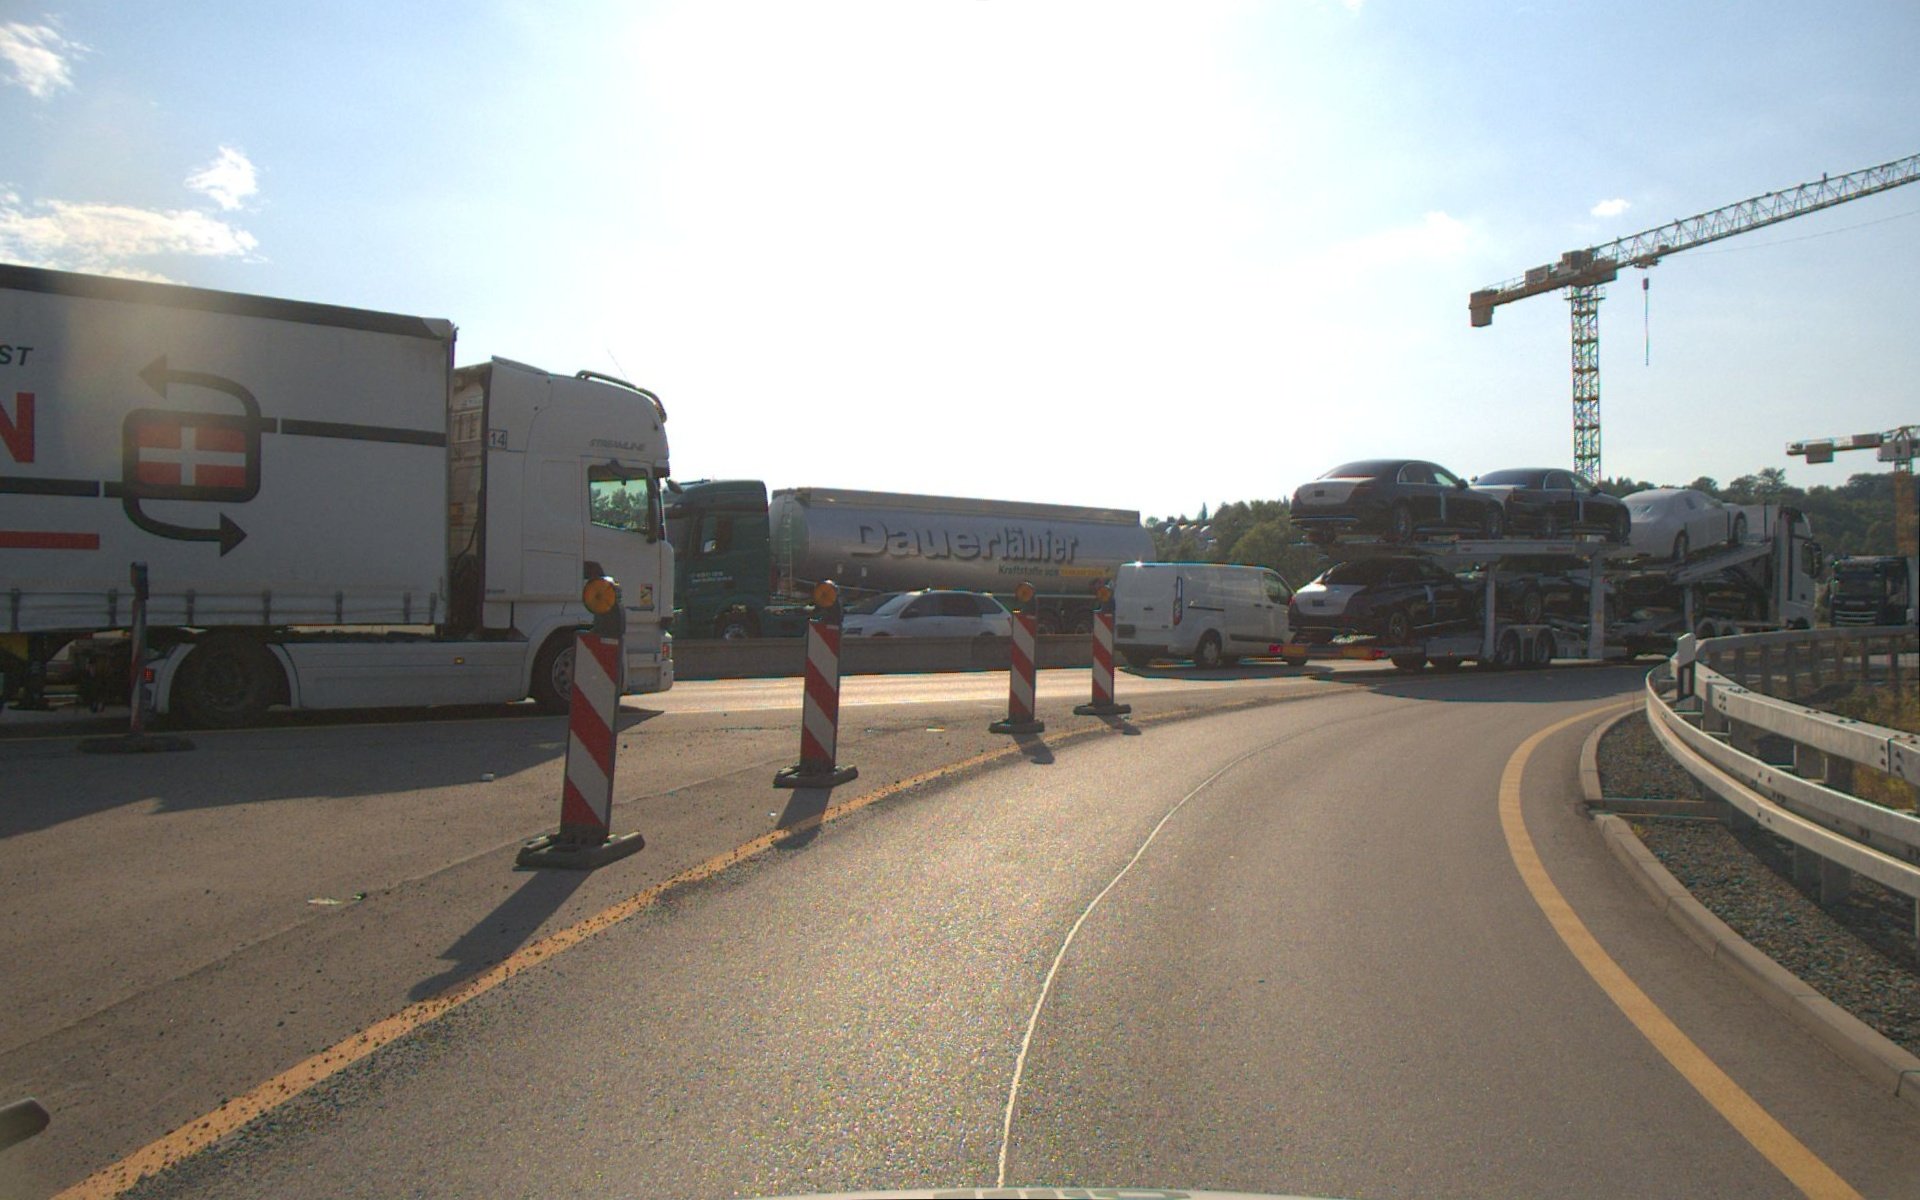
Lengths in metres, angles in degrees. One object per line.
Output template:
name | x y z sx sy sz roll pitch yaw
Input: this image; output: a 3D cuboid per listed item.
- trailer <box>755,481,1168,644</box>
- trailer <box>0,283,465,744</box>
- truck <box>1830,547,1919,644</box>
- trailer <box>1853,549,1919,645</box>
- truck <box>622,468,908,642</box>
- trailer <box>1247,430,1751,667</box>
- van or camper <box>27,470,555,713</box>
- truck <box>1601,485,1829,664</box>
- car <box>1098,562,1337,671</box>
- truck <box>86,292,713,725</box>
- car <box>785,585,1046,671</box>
trailer | 0.390 -0.635 37.660 10.889 3.189 2.114 2 -3 -43
trailer | -10.882 -0.797 13.324 13.518 3.947 2.449 2 -2 -43
truck | 41.724 -0.123 74.369 6.076 4.138 2.596 2 -3 -42
trailer | 46.593 0.032 78.716 13.956 4.138 2.596 2 -3 -42
truck | -3.873 -0.773 33.667 5.640 3.189 2.114 2 -3 -43
trailer | 11.952 -0.675 34.678 15.613 4.067 2.822 2 -2 -43
van or camper | -8.243 -0.029 20.880 5.854 2.666 1.969 2 -2 -43
truck | 18.761 -0.486 40.930 6.568 4.067 2.813 2 -2 -43
car | 5.182 0.324 32.875 4.935 2.015 2.005 1 0 -42
truck | -5.874 -0.756 17.990 5.961 3.947 2.450 2 -2 -43
car | -0.787 0.530 32.020 4.935 1.526 2.005 1 0 -42
